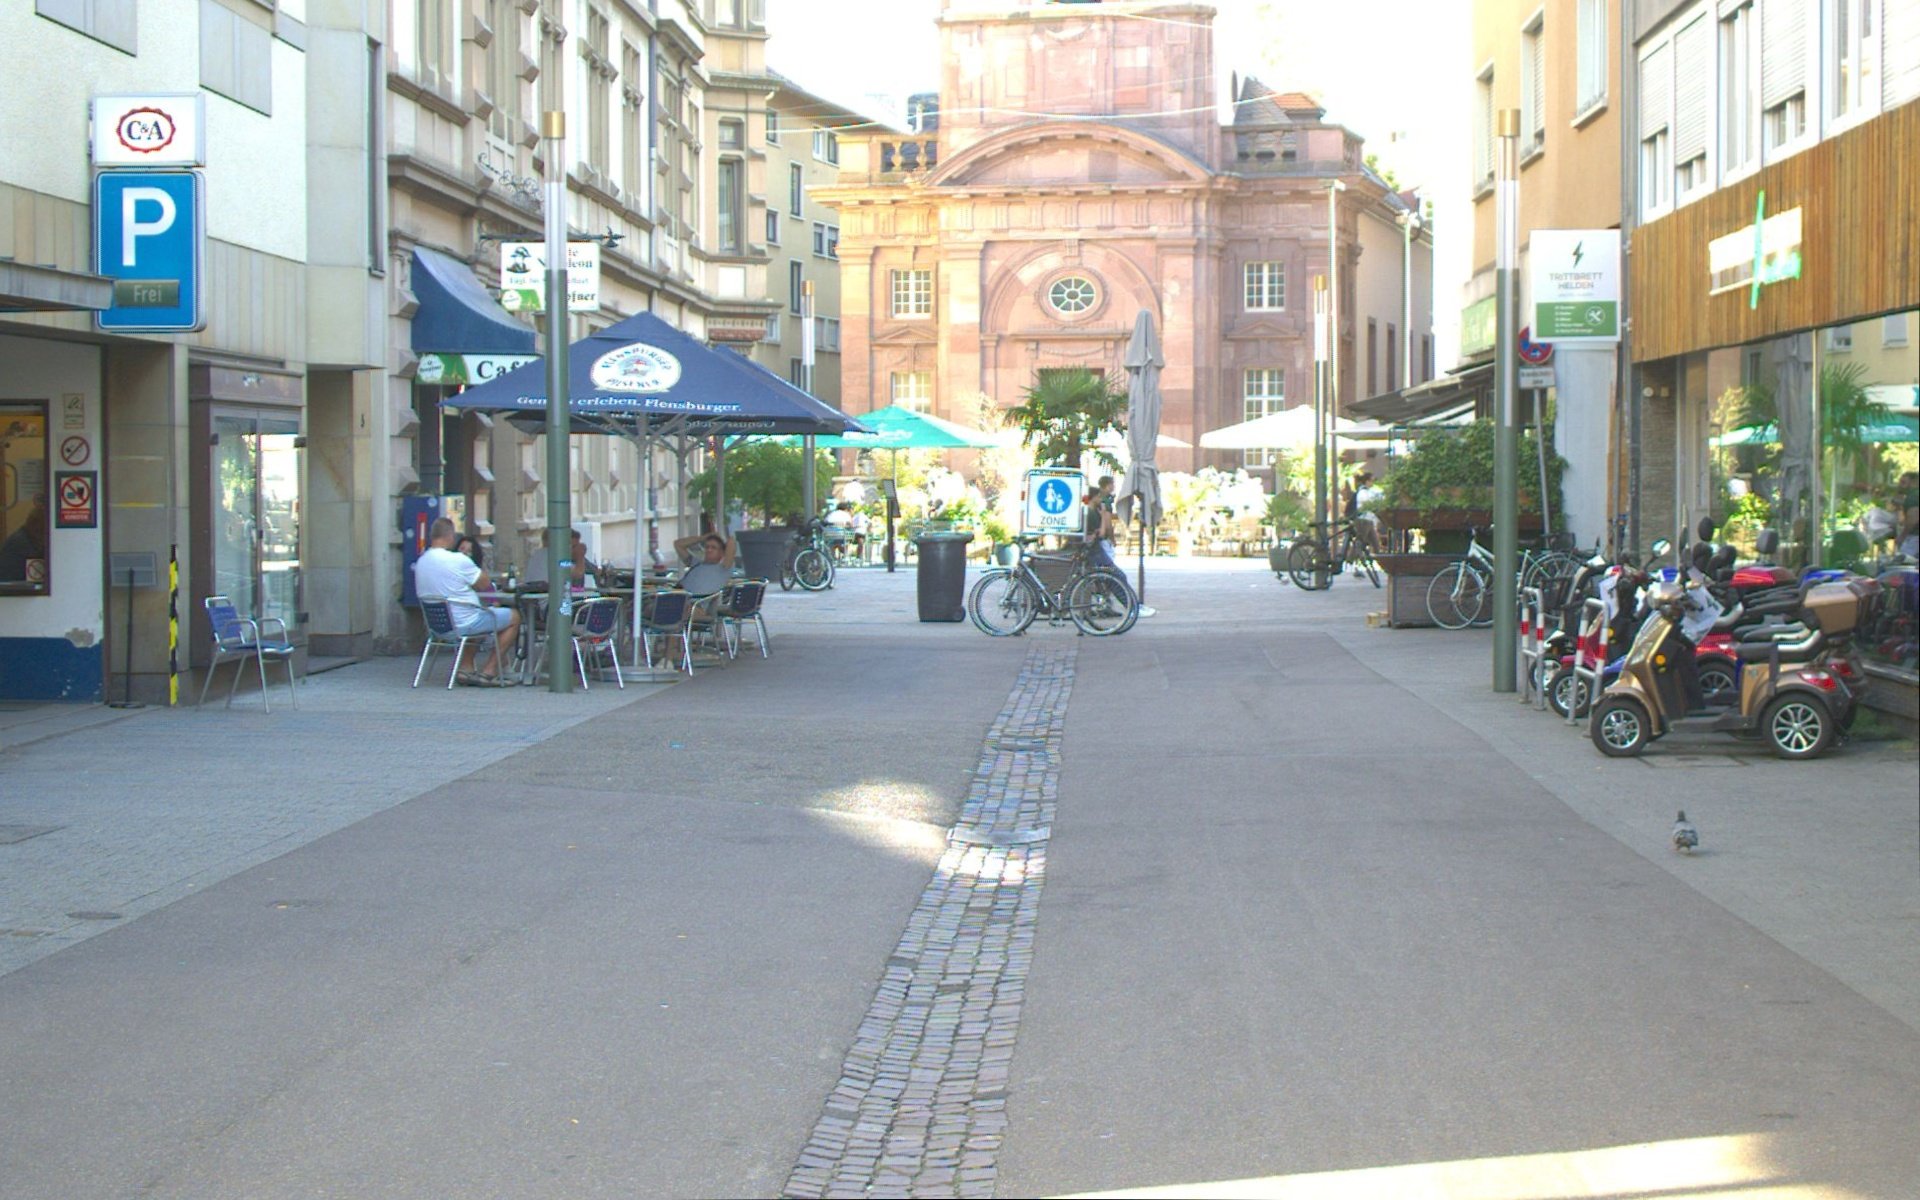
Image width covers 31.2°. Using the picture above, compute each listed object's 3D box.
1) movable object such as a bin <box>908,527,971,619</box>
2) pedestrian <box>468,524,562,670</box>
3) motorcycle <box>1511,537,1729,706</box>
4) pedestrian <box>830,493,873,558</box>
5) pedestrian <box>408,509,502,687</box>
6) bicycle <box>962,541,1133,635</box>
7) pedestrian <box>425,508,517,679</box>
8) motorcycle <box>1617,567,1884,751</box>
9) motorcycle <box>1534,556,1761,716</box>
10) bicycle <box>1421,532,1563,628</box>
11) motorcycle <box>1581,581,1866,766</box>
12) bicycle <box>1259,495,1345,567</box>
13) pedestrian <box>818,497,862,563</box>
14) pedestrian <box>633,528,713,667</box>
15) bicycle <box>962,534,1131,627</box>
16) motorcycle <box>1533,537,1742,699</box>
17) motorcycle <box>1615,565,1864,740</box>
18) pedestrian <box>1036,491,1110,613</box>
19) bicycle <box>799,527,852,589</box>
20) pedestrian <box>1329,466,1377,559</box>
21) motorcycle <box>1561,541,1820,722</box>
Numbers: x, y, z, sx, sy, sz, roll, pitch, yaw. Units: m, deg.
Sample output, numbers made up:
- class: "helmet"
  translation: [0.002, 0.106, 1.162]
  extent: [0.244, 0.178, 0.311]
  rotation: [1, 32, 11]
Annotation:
- class: "movable object such as a bin"
  translation: [-0.238, -0.318, 40.395]
  extent: [0.721, 1.071, 0.374]
  rotation: [0, 2, 1]
- class: "pedestrian"
  translation: [-3.830, -0.038, 29.647]
  extent: [0.765, 1.229, 0.831]
  rotation: [0, 2, -5]
- class: "motorcycle"
  translation: [4.702, 0.146, 24.494]
  extent: [1.485, 1.177, 0.412]
  rotation: [0, 2, 18]
- class: "pedestrian"
  translation: [-2.053, -1.417, 65.141]
  extent: [0.700, 1.213, 0.719]
  rotation: [0, 2, 8]
- class: "pedestrian"
  translation: [-3.964, -0.025, 26.945]
  extent: [0.708, 1.363, 0.720]
  rotation: [0, 2, -9]
- class: "bicycle"
  translation: [0.938, -0.137, 37.060]
  extent: [1.823, 1.001, 0.381]
  rotation: [0, 2, -1]
- class: "pedestrian"
  translation: [-3.981, -0.062, 27.979]
  extent: [0.717, 1.363, 0.710]
  rotation: [0, 2, -9]
- class: "motorcycle"
  translation: [4.757, 0.345, 20.693]
  extent: [1.518, 1.072, 0.412]
  rotation: [0, 2, 21]
- class: "motorcycle"
  translation: [4.731, 0.243, 23.671]
  extent: [1.485, 1.072, 0.412]
  rotation: [0, 2, 21]
- class: "bicycle"
  translation: [5.618, -0.216, 36.329]
  extent: [1.464, 1.001, 0.573]
  rotation: [0, 2, 10]
- class: "motorcycle"
  translation: [4.416, 0.417, 19.900]
  extent: [1.565, 1.038, 0.372]
  rotation: [0, 2, 21]
- class: "bicycle"
  translation: [6.232, -1.262, 62.628]
  extent: [1.586, 1.303, 0.366]
  rotation: [-1, 2, -26]
- class: "pedestrian"
  translation: [-2.216, -1.309, 63.718]
  extent: [0.700, 1.213, 0.719]
  rotation: [0, 2, 8]
- class: "pedestrian"
  translation: [-2.549, -0.031, 30.494]
  extent: [0.692, 1.211, 0.583]
  rotation: [0, 2, -5]
- class: "bicycle"
  translation: [0.937, -0.216, 37.456]
  extent: [1.823, 1.001, 0.381]
  rotation: [0, 2, -1]
- class: "motorcycle"
  translation: [5.037, 0.129, 25.557]
  extent: [1.485, 1.177, 0.412]
  rotation: [0, 2, 18]
- class: "motorcycle"
  translation: [4.909, 0.321, 21.648]
  extent: [1.485, 1.072, 0.412]
  rotation: [0, 2, 21]
- class: "pedestrian"
  translation: [1.371, -0.591, 41.564]
  extent: [0.884, 1.459, 0.731]
  rotation: [0, 2, 3]
- class: "bicycle"
  translation: [-1.930, -0.616, 49.510]
  extent: [0.457, 0.847, 2.146]
  rotation: [0, 2, 6]
- class: "pedestrian"
  translation: [6.607, -1.470, 57.770]
  extent: [0.784, 1.550, 0.535]
  rotation: [0, 2, 7]
- class: "motorcycle"
  translation: [4.852, 0.201, 22.852]
  extent: [1.626, 1.171, 0.480]
  rotation: [0, 2, 21]
